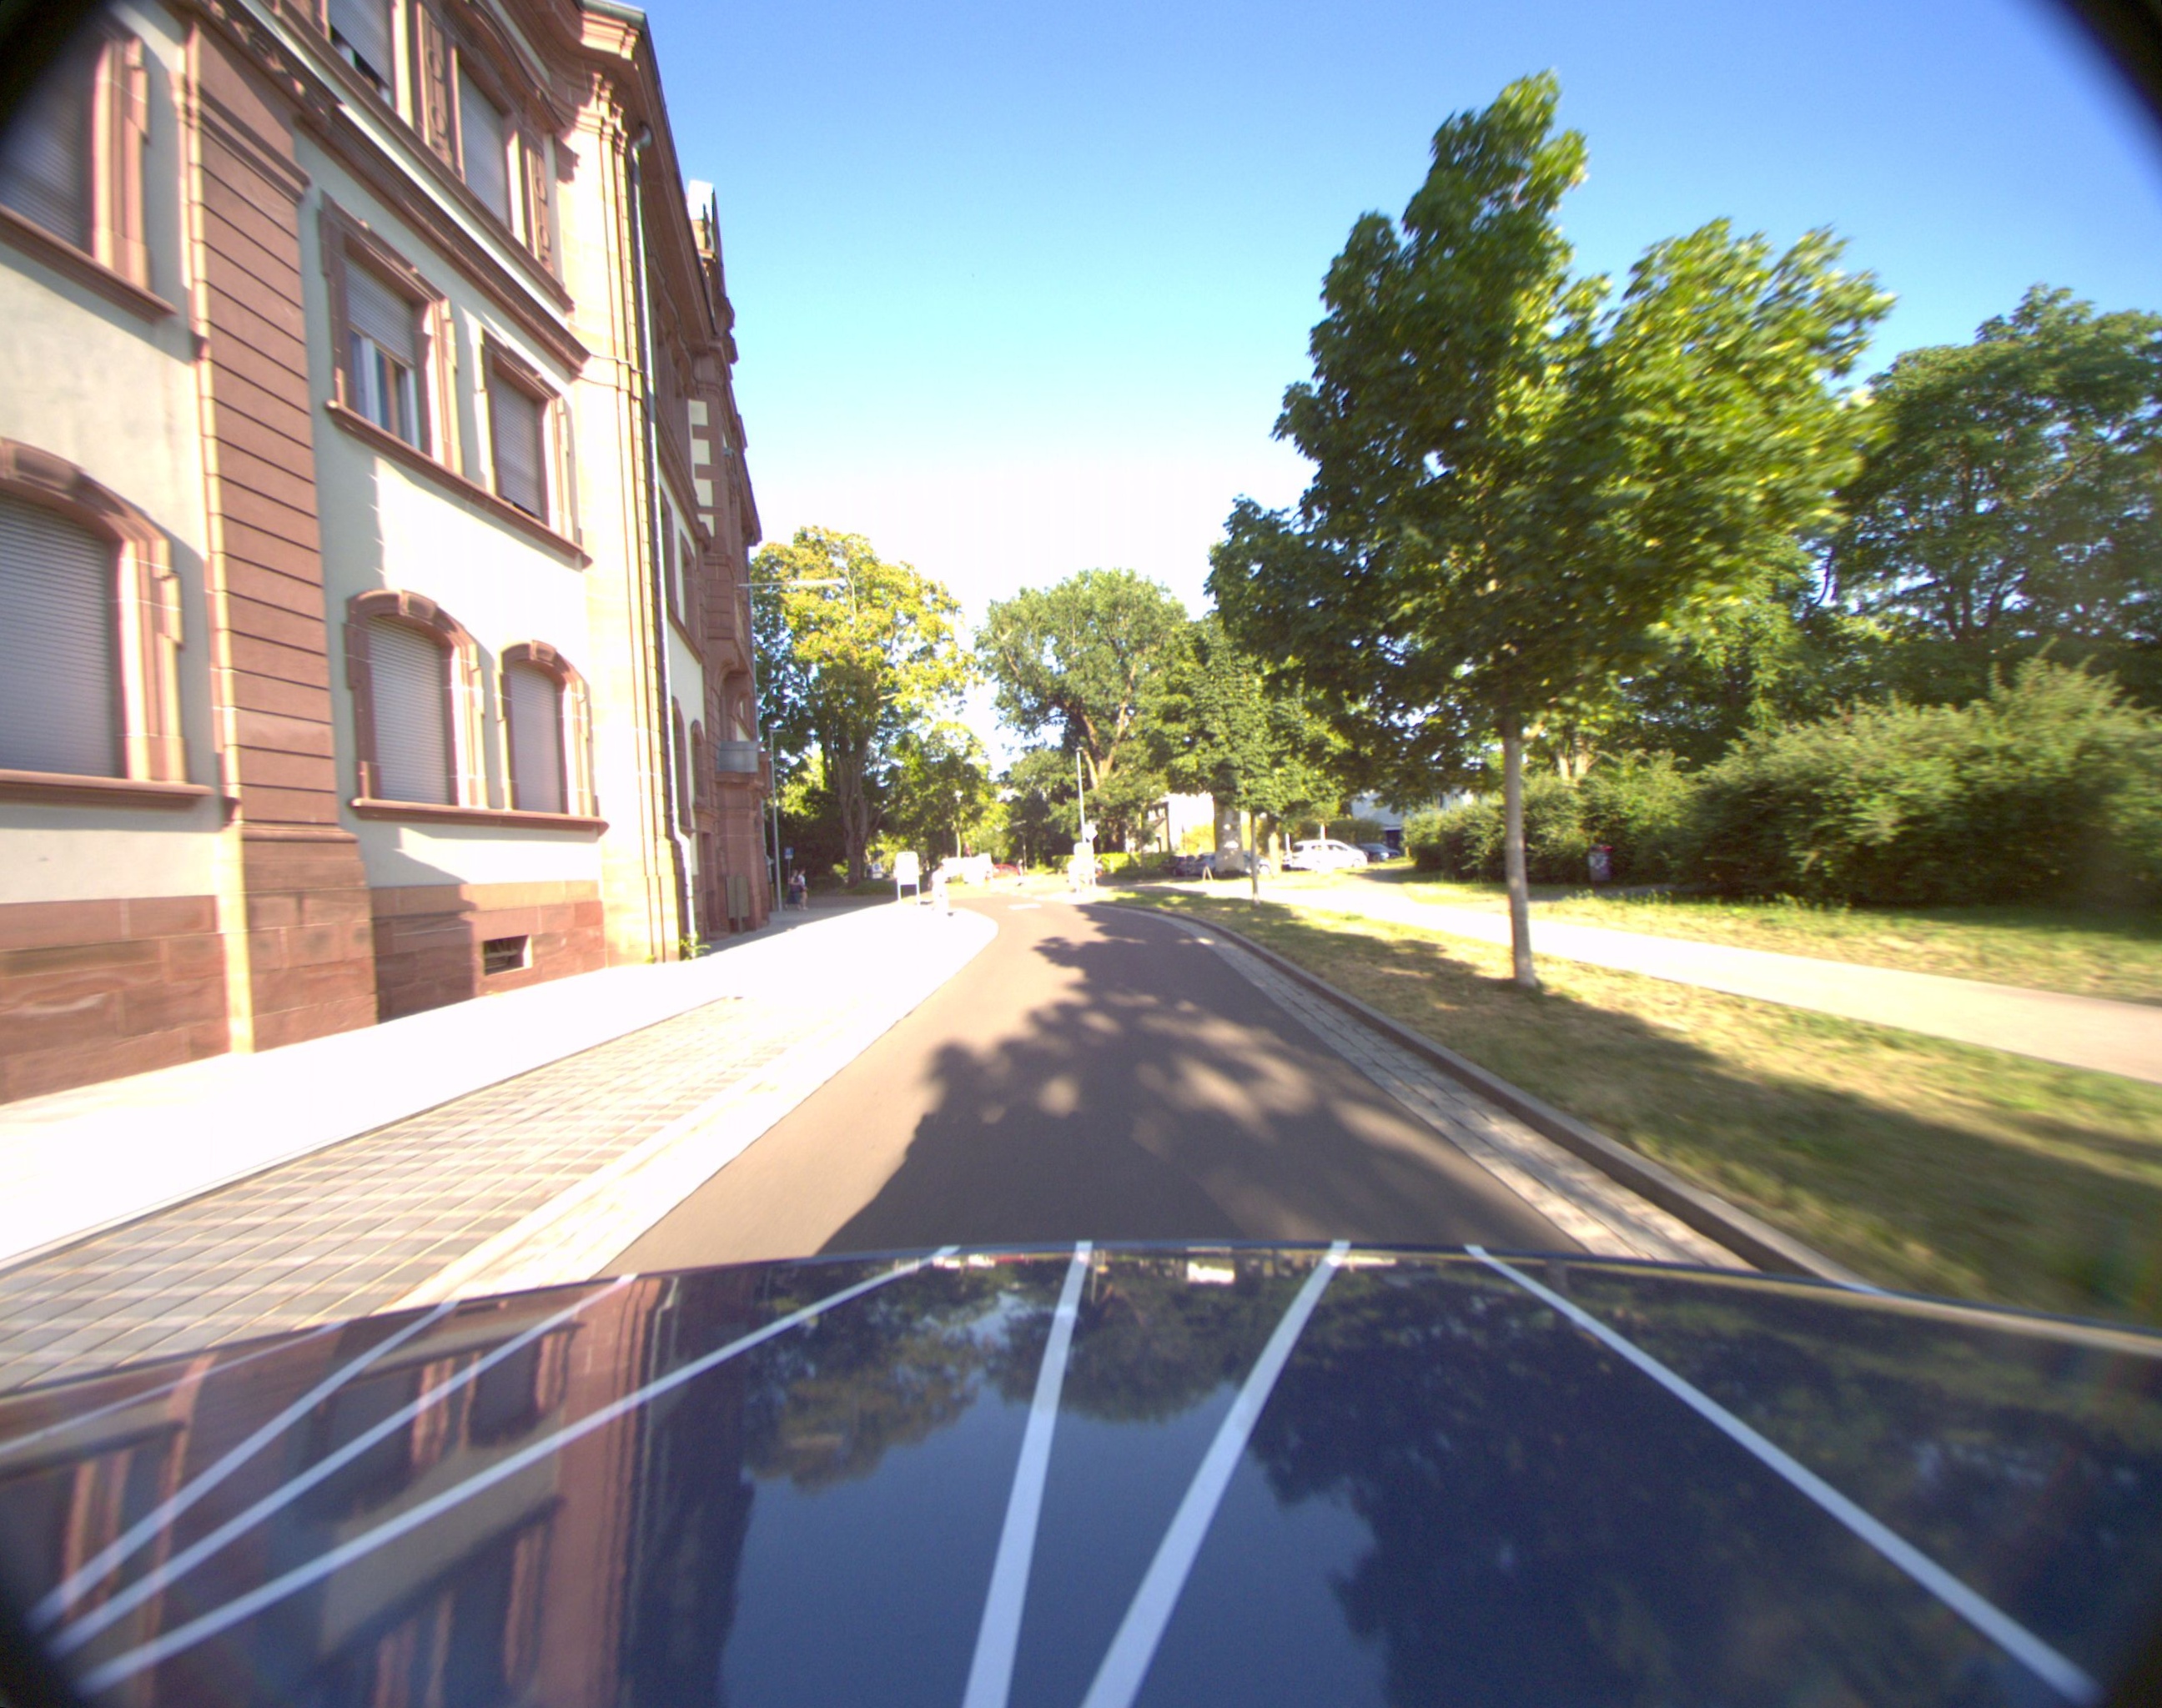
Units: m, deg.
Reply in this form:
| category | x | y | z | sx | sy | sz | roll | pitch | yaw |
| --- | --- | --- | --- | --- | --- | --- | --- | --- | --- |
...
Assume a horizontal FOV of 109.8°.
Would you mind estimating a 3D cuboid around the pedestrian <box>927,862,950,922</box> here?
| category | x | y | z | sx | sy | sz | roll | pitch | yaw |
| --- | --- | --- | --- | --- | --- | --- | --- | --- | --- |
| pedestrian | -4.236 | 1.110 | 22.547 | 0.534 | 1.709 | 1.001 | -1 | 0 | -16 |

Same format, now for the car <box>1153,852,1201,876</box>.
| category | x | y | z | sx | sy | sz | roll | pitch | yaw |
| --- | --- | --- | --- | --- | --- | --- | --- | --- | --- |
| car | 6.567 | 0.674 | 52.335 | 1.646 | 1.507 | 3.993 | -4 | 1 | -19 |

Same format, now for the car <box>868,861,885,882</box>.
| category | x | y | z | sx | sy | sz | roll | pitch | yaw |
| --- | --- | --- | --- | --- | --- | --- | --- | --- | --- |
| car | -27.266 | 2.343 | 101.490 | 1.953 | 2.584 | 4.161 | -4 | 0 | -13 |

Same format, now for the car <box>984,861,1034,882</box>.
| category | x | y | z | sx | sy | sz | roll | pitch | yaw |
| --- | --- | --- | --- | --- | --- | --- | --- | --- | --- |
| car | -5.857 | 1.418 | 61.635 | 3.682 | 1.412 | 1.716 | -4 | 0 | -19 |

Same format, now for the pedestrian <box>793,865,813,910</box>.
| category | x | y | z | sx | sy | sz | roll | pitch | yaw |
| --- | --- | --- | --- | --- | --- | --- | --- | --- | --- |
| pedestrian | -11.735 | 1.404 | 32.101 | 0.613 | 1.828 | 0.726 | -3 | -2 | -15 |

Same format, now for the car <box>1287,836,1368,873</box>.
| category | x | y | z | sx | sy | sz | roll | pitch | yaw |
| --- | --- | --- | --- | --- | --- | --- | --- | --- | --- |
| car | 14.624 | 0.063 | 45.121 | 4.241 | 1.905 | 1.760 | -4 | 0 | -17 |

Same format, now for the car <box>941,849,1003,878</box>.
| category | x | y | z | sx | sy | sz | roll | pitch | yaw |
| --- | --- | --- | --- | --- | --- | --- | --- | --- | --- |
| car | -11.272 | 0.975 | 78.482 | 5.914 | 2.684 | 2.217 | -4 | 0 | -19 |

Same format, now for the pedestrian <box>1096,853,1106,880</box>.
| category | x | y | z | sx | sy | sz | roll | pitch | yaw |
| --- | --- | --- | --- | --- | --- | --- | --- | --- | --- |
| pedestrian | 1.309 | 0.827 | 50.026 | 0.436 | 1.764 | 0.665 | -4 | 0 | -12 |

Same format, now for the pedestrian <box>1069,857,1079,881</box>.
| category | x | y | z | sx | sy | sz | roll | pitch | yaw |
| --- | --- | --- | --- | --- | --- | --- | --- | --- | --- |
| pedestrian | -0.464 | 0.993 | 50.285 | 0.436 | 1.571 | 0.665 | -4 | 0 | -12 |

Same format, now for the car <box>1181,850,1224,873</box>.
| category | x | y | z | sx | sy | sz | roll | pitch | yaw |
| --- | --- | --- | --- | --- | --- | --- | --- | --- | --- |
| car | 8.668 | 0.497 | 54.496 | 1.639 | 1.483 | 3.350 | -4 | 1 | -19 |

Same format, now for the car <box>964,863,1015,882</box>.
| category | x | y | z | sx | sy | sz | roll | pitch | yaw |
| --- | --- | --- | --- | --- | --- | --- | --- | --- | --- |
| car | -8.057 | 1.596 | 66.922 | 4.062 | 1.412 | 1.716 | -4 | 0 | -19 |

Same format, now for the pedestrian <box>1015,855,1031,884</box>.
| category | x | y | z | sx | sy | sz | roll | pitch | yaw |
| --- | --- | --- | --- | --- | --- | --- | --- | --- | --- |
| pedestrian | -3.989 | 1.071 | 52.196 | 0.615 | 1.908 | 0.721 | -7 | 3 | -40 |

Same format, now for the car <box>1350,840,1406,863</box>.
| category | x | y | z | sx | sy | sz | roll | pitch | yaw |
| --- | --- | --- | --- | --- | --- | --- | --- | --- | --- |
| car | 22.082 | -0.196 | 56.624 | 1.746 | 1.529 | 3.917 | -4 | 1 | -19 |

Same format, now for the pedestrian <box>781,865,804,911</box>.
| category | x | y | z | sx | sy | sz | roll | pitch | yaw |
| --- | --- | --- | --- | --- | --- | --- | --- | --- | --- |
| pedestrian | -11.887 | 1.392 | 31.358 | 0.717 | 1.829 | 0.789 | -3 | -1 | -15 |

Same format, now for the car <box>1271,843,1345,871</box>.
| category | x | y | z | sx | sy | sz | roll | pitch | yaw |
| --- | --- | --- | --- | --- | --- | --- | --- | --- | --- |
| car | 15.139 | 0.197 | 50.629 | 4.348 | 1.525 | 1.781 | -3 | -1 | -15 |

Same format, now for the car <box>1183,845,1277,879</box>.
| category | x | y | z | sx | sy | sz | roll | pitch | yaw |
| --- | --- | --- | --- | --- | --- | --- | --- | --- | --- |
| car | 8.427 | 0.448 | 42.979 | 4.841 | 1.549 | 1.865 | -4 | 0 | -17 |
